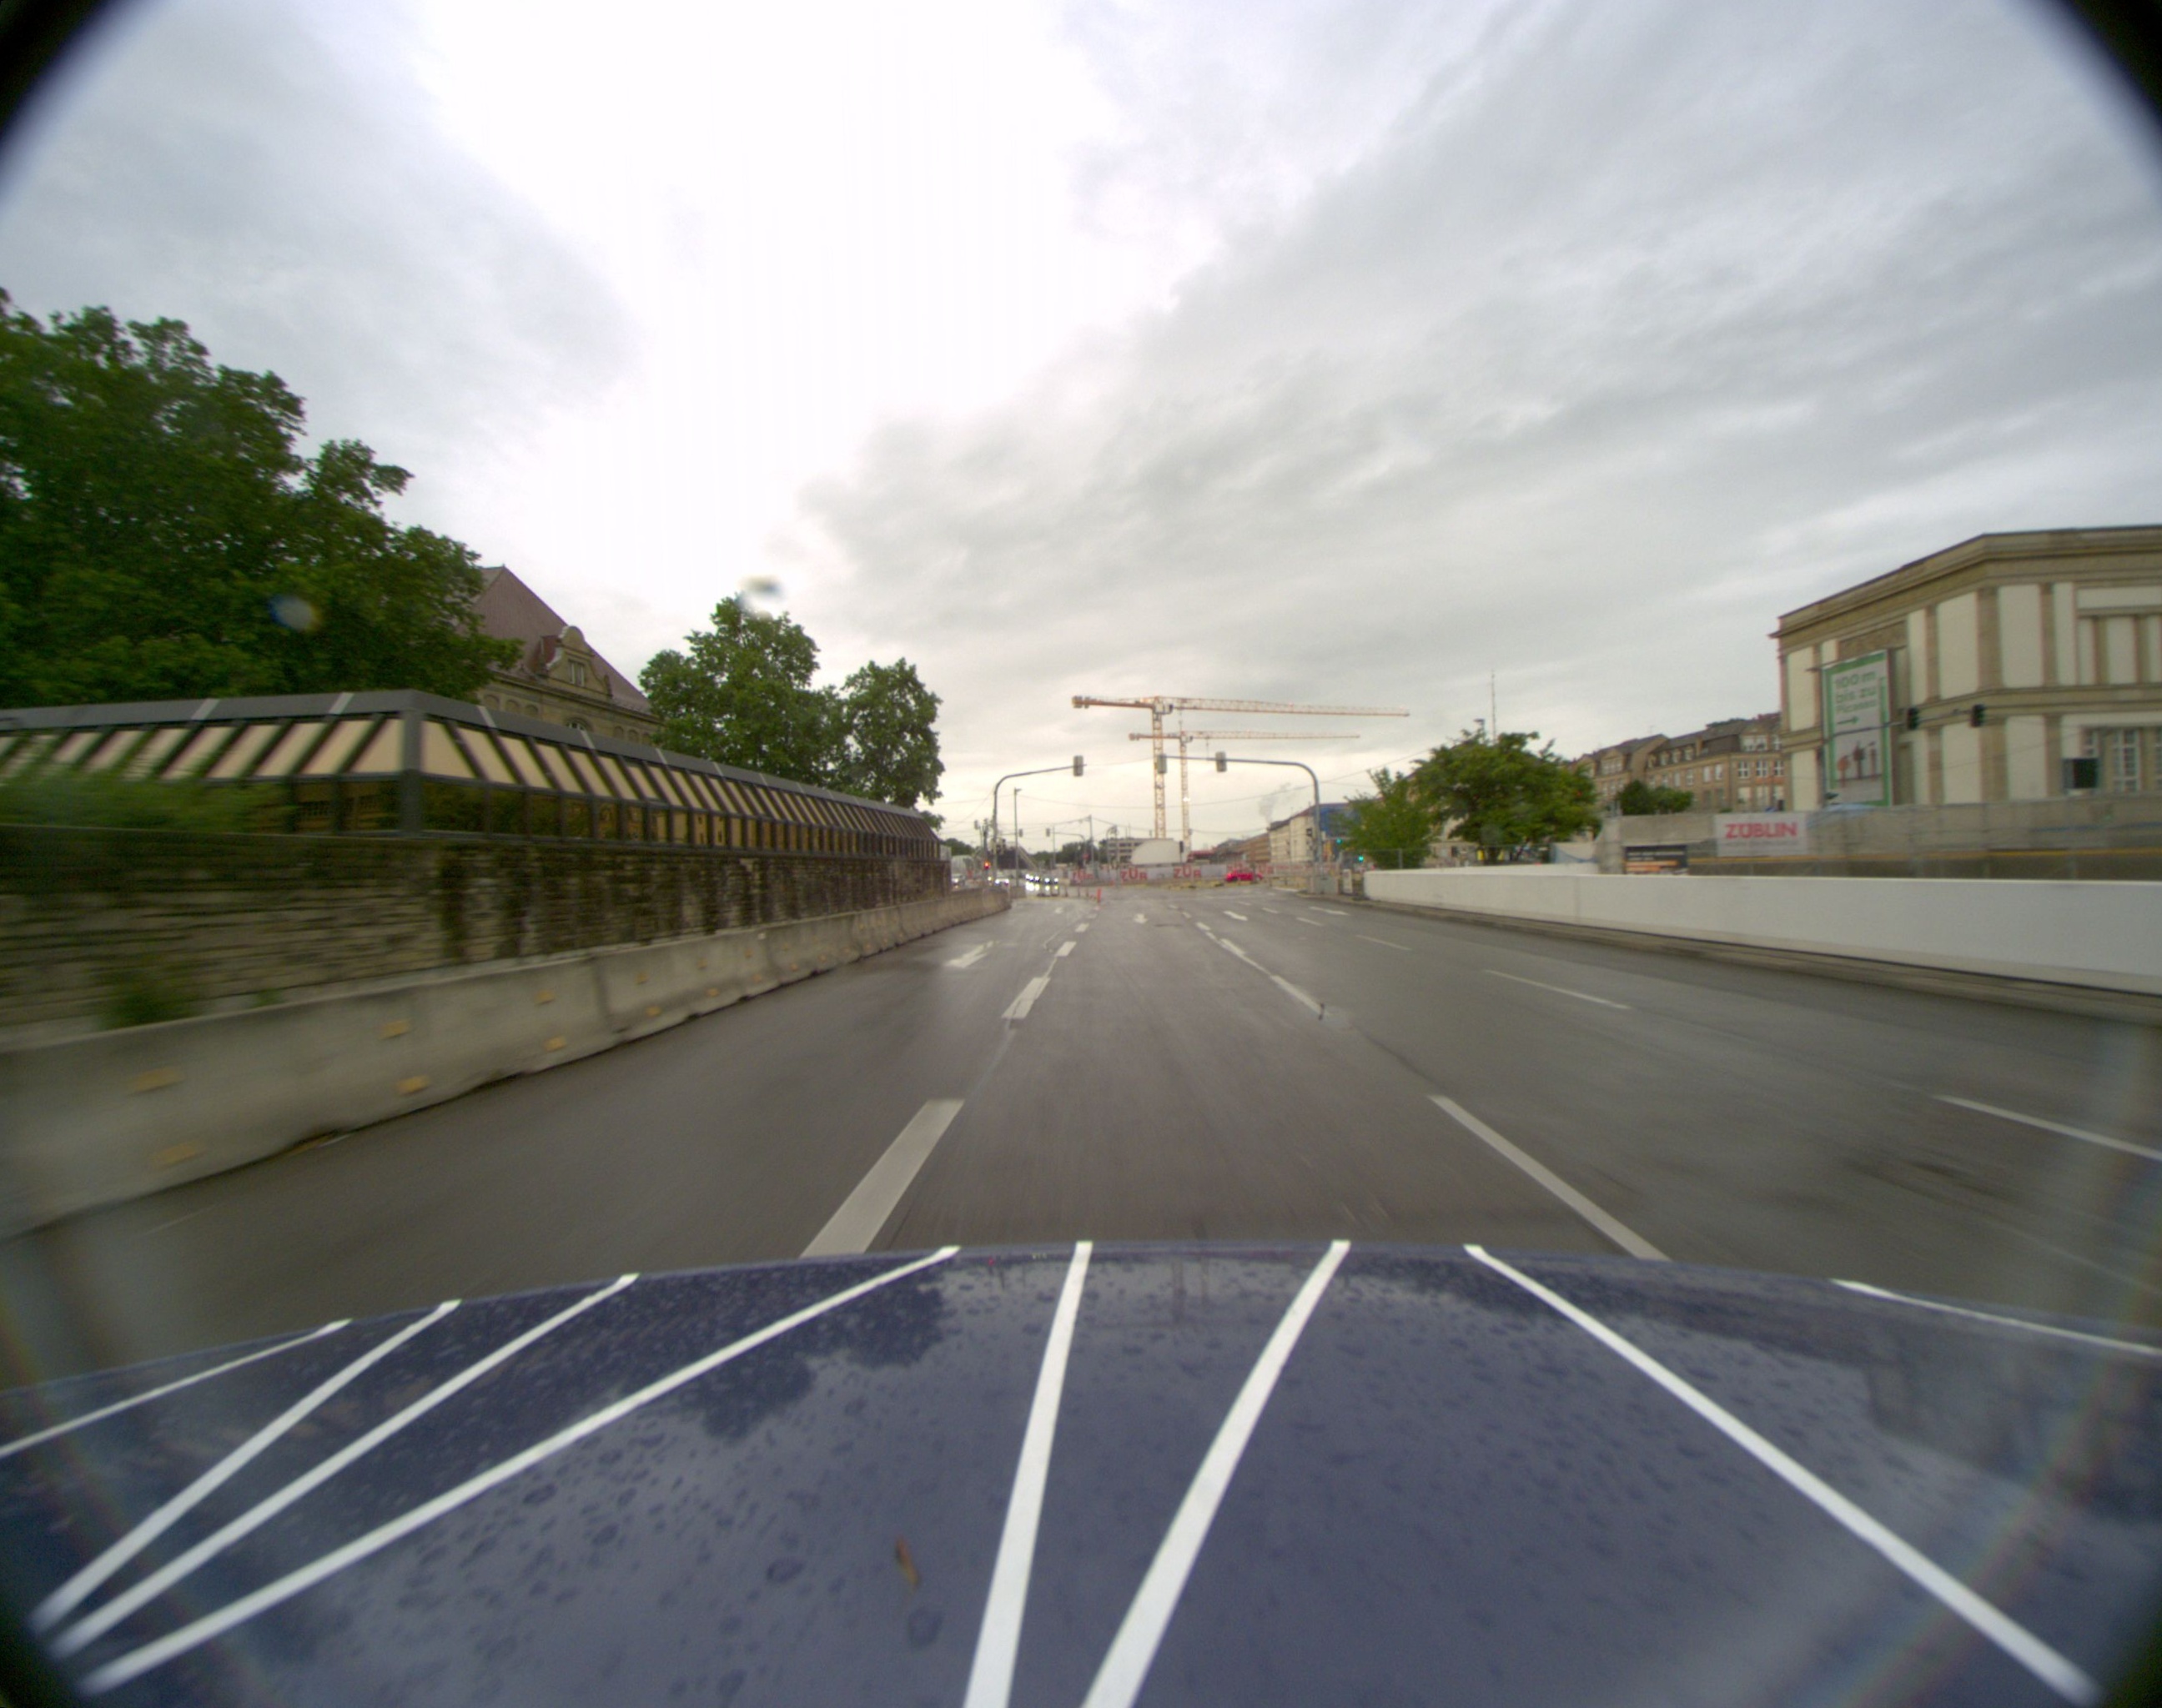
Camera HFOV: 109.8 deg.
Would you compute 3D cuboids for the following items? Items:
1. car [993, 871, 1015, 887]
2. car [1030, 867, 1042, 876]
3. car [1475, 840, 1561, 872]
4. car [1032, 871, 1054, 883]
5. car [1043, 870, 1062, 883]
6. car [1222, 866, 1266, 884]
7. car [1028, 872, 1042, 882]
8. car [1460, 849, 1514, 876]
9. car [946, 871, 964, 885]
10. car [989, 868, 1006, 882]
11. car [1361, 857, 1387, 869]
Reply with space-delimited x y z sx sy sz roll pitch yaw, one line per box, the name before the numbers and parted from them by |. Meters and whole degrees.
car | -10.633 3.490 104.275 2.001 2.001 4.418 -3 -1 -18
car | -7.056 2.648 118.551 1.650 1.171 4.287 -3 1 -4
car | 32.560 0.171 56.844 2.371 2.161 5.678 -4 0 -10
car | -5.630 3.379 111.299 2.001 1.707 4.418 -3 -1 -18
car | -3.953 3.131 105.809 1.862 1.556 3.798 -4 -1 -13
car | 16.656 2.106 77.780 3.998 1.542 1.691 -4 -1 -4
car | -7.647 3.741 125.359 1.999 1.548 4.523 -4 -1 -6
car | 33.298 0.648 62.528 1.998 2.002 4.642 -4 0 3
car | -18.625 3.533 112.431 1.999 1.761 4.356 -4 -1 -3
car | -12.162 3.054 110.539 2.000 1.761 4.354 -4 -1 -11
car | 48.464 1.436 125.819 1.999 1.828 4.681 -3 0 -5
